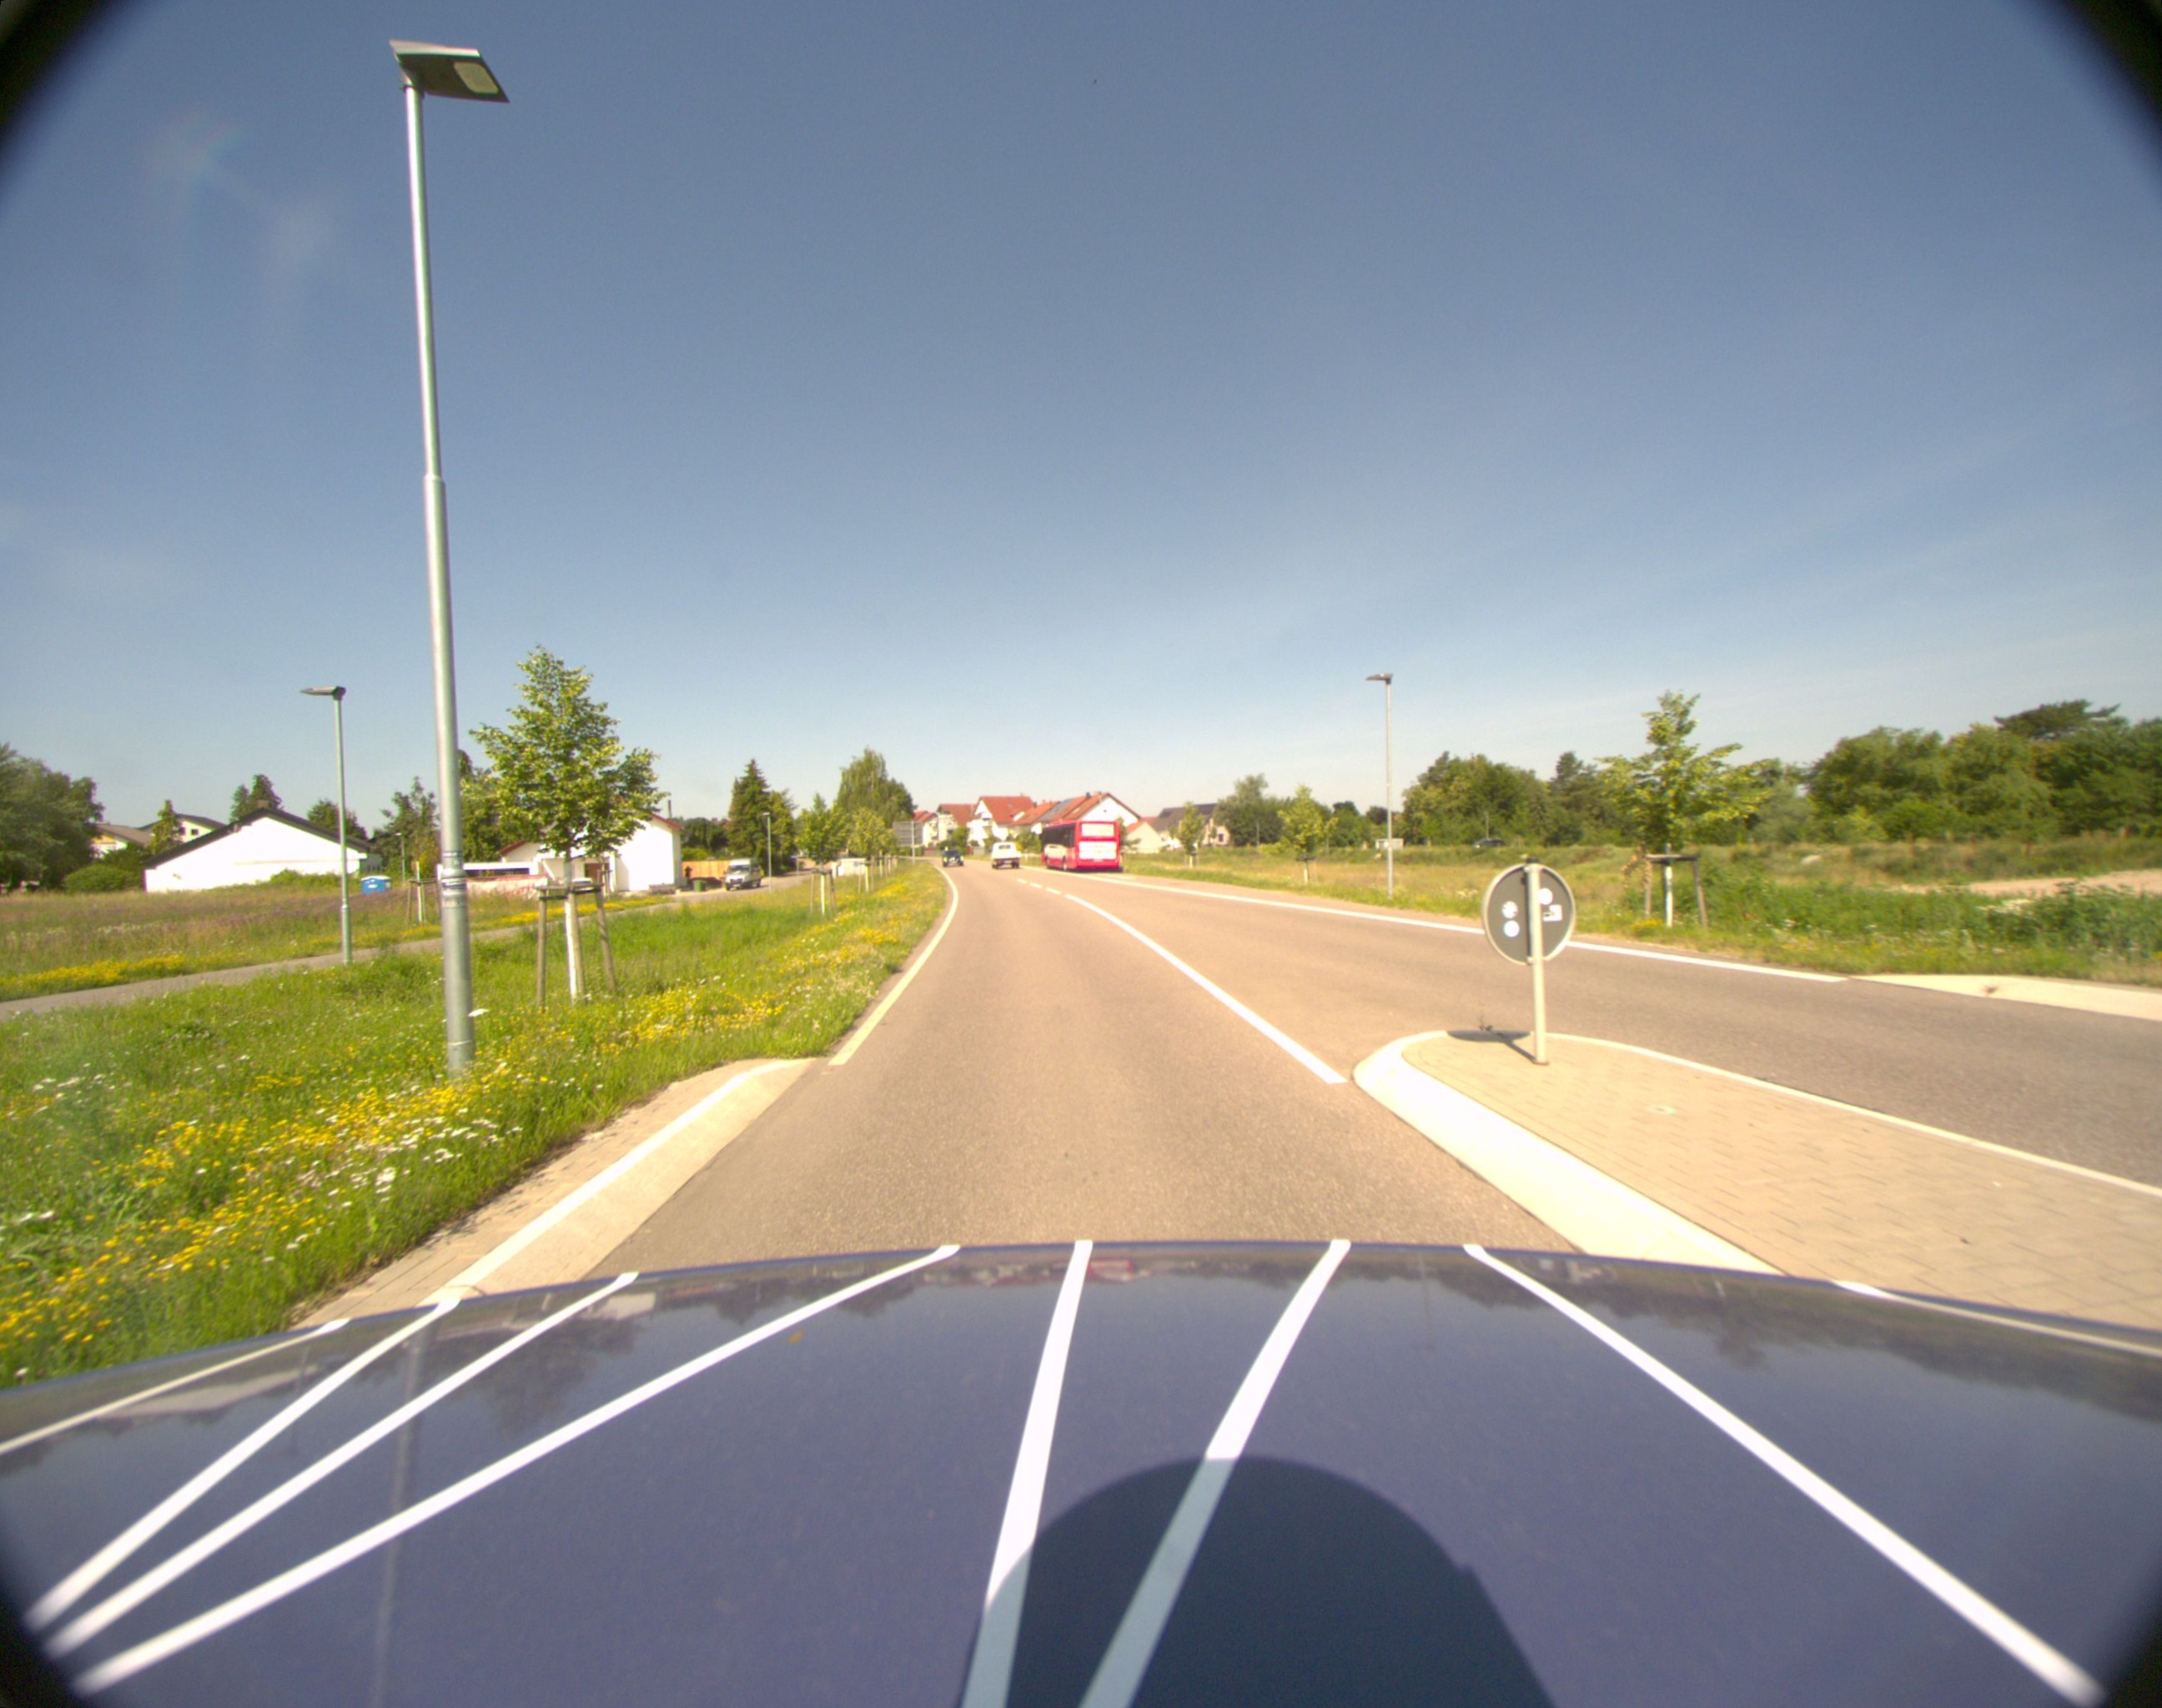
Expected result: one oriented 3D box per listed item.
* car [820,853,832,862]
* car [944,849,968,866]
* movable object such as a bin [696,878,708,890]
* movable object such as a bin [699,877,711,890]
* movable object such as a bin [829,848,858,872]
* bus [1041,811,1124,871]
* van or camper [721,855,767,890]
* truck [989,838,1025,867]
[{"bbox_3d":[-47.686,0.607,142.056,1.865,1.437,4.162,-4,2,-15],"label":"car"},{"bbox_3d":[-12.182,0.354,73.749,1.935,1.552,3.995,-2,0,-14],"label":"car"},{"bbox_3d":[-30.392,2.402,60.953,0.694,0.932,0.638,-3,1,-7],"label":"movable object such as a bin"},{"bbox_3d":[-30.485,2.385,61.639,0.694,0.932,0.638,-3,1,-7],"label":"movable object such as a bin"},{"bbox_3d":[-27.214,0.578,87.233,2.324,2.449,6.936,-3,2,-12],"label":"movable object such as a bin"},{"bbox_3d":[-0.237,-0.729,47.948,2.804,3.268,12.215,0,0,-12],"label":"bus"},{"bbox_3d":[-28.458,1.483,64.420,2.179,2.586,6.022,-3,2,-11],"label":"van or camper"},{"bbox_3d":[-5.713,-0.103,57.862,1.958,1.973,5.637,-4,1,-12],"label":"truck"}]
